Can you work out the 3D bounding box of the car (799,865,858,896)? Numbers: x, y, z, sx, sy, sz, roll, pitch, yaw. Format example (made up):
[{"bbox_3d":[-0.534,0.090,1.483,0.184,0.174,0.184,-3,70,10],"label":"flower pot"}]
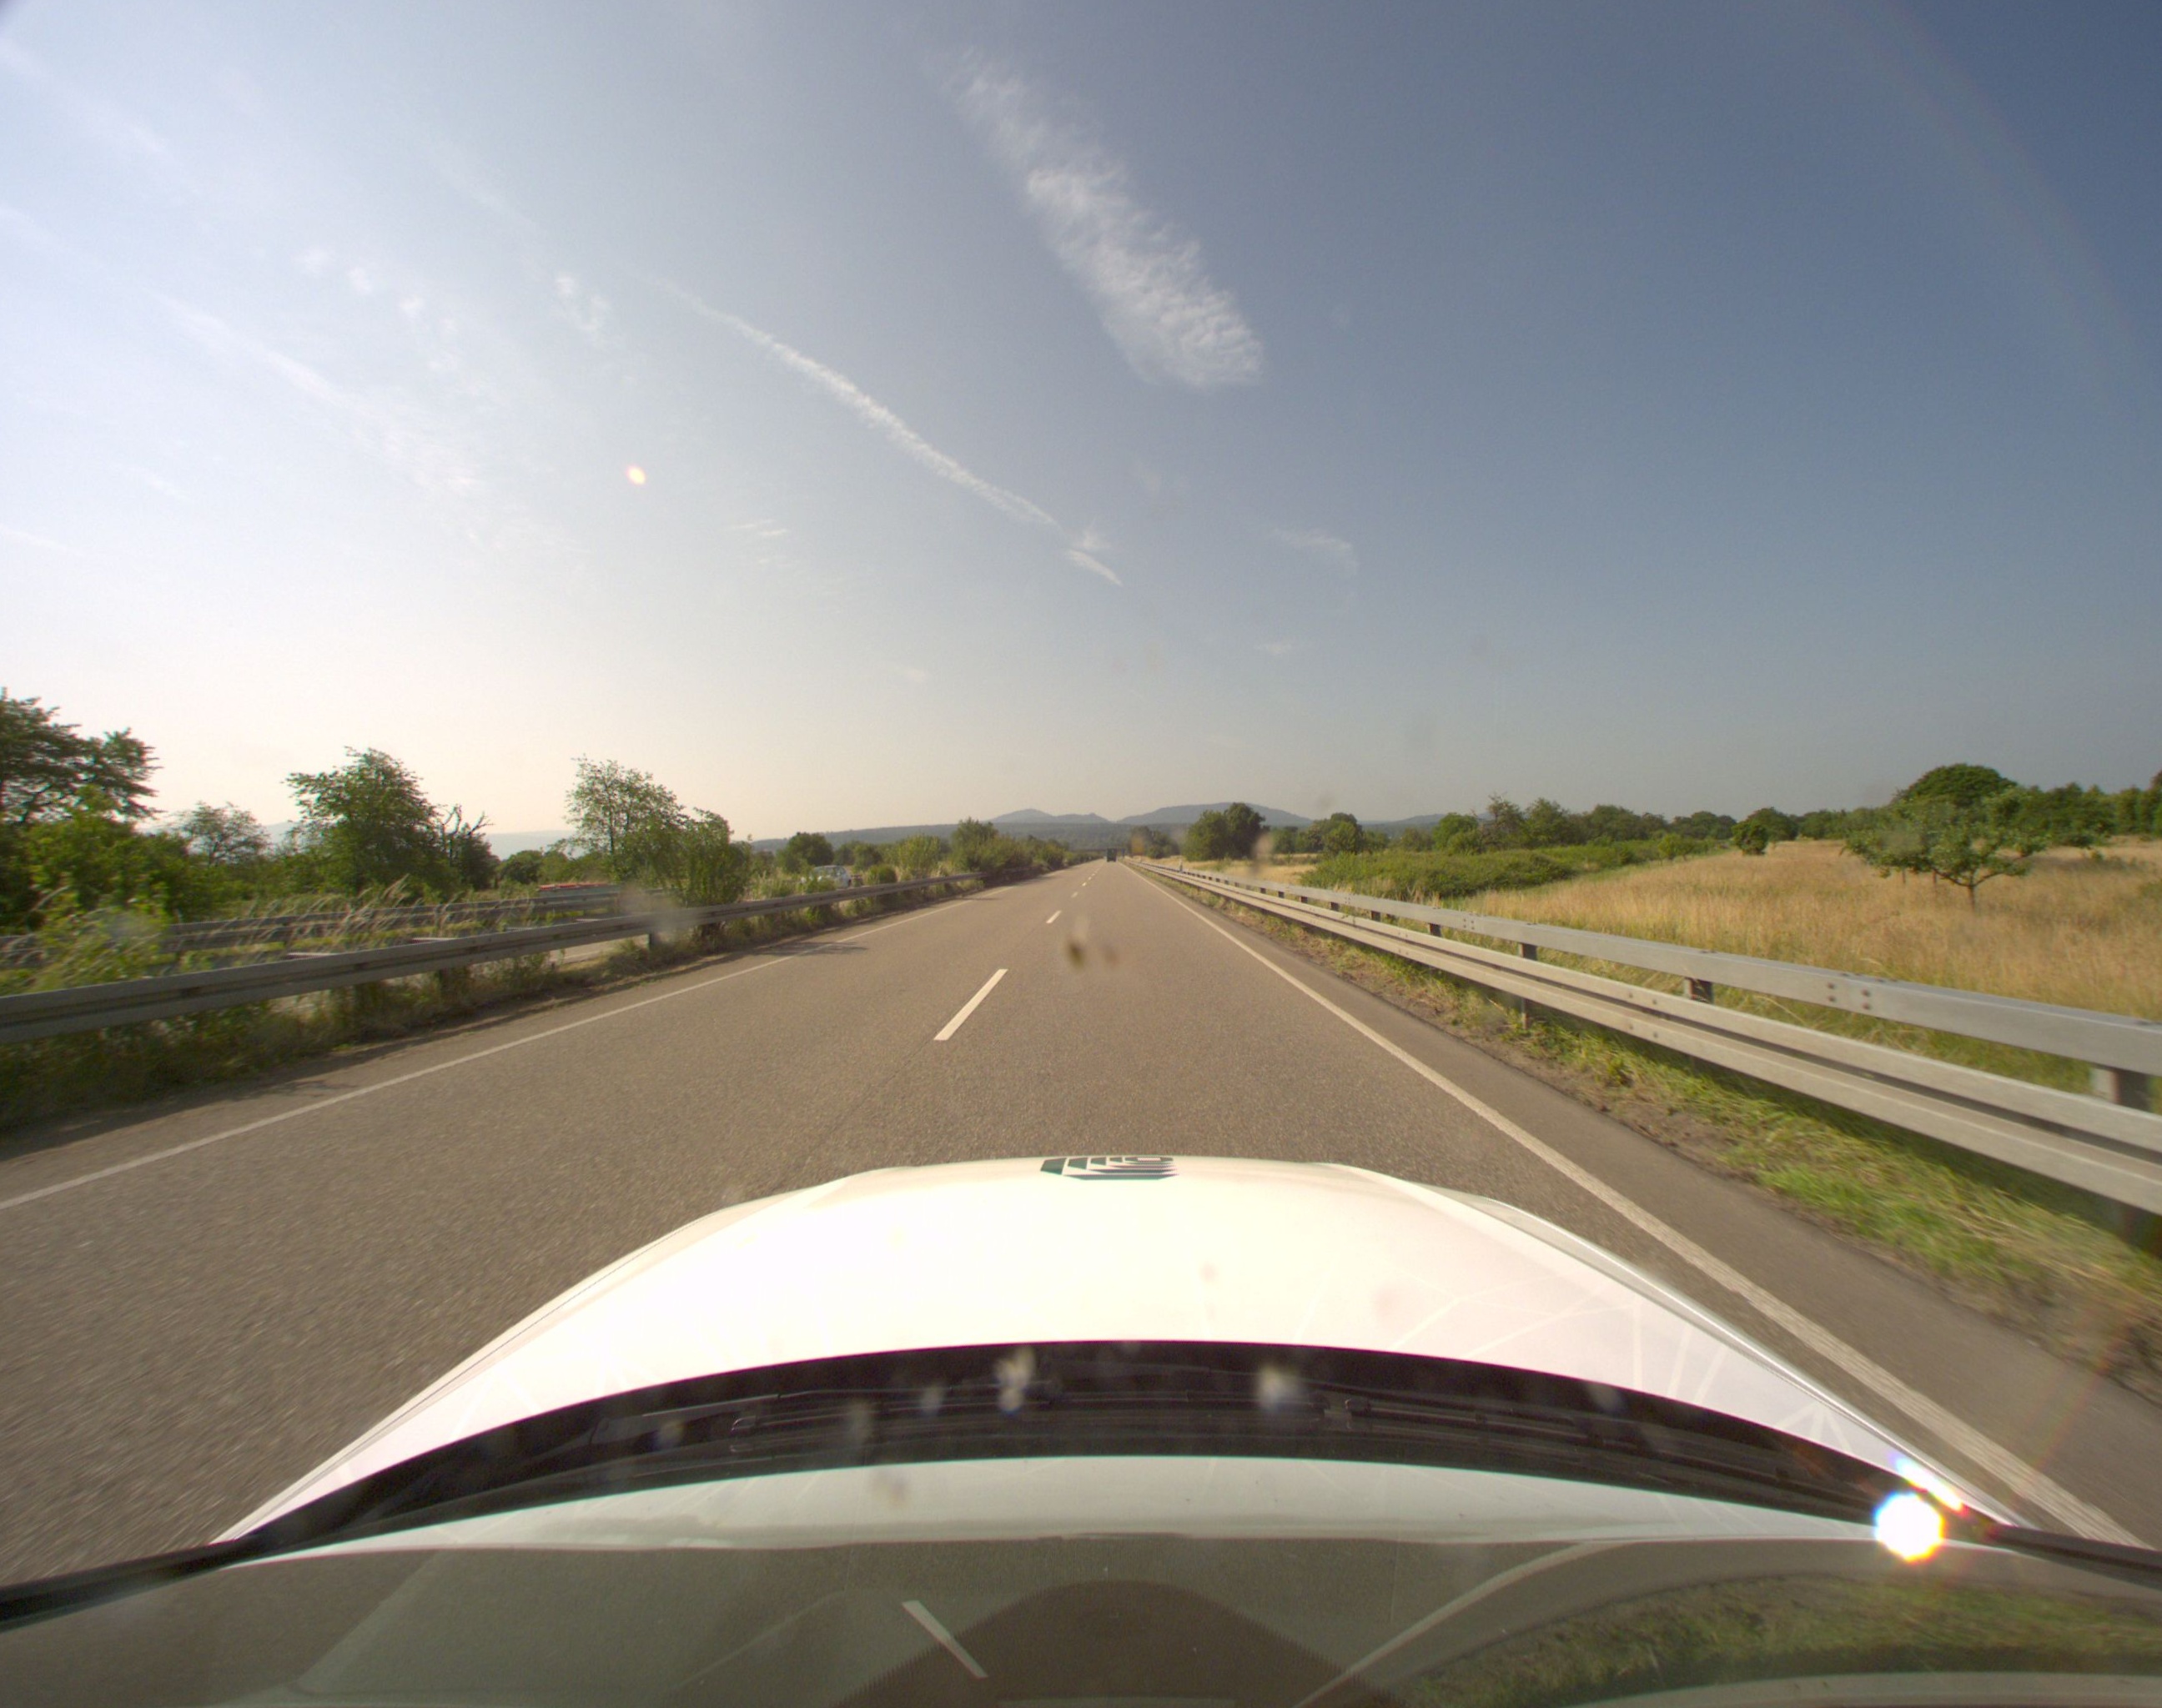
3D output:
[{"bbox_3d":[-13.443,1.396,43.582,1.686,1.526,4.190,-1,0,2],"label":"car"}]

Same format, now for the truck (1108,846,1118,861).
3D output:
[{"bbox_3d":[8.706,-0.137,222.952,2.711,3.965,10.422,0,1,2],"label":"truck"}]
